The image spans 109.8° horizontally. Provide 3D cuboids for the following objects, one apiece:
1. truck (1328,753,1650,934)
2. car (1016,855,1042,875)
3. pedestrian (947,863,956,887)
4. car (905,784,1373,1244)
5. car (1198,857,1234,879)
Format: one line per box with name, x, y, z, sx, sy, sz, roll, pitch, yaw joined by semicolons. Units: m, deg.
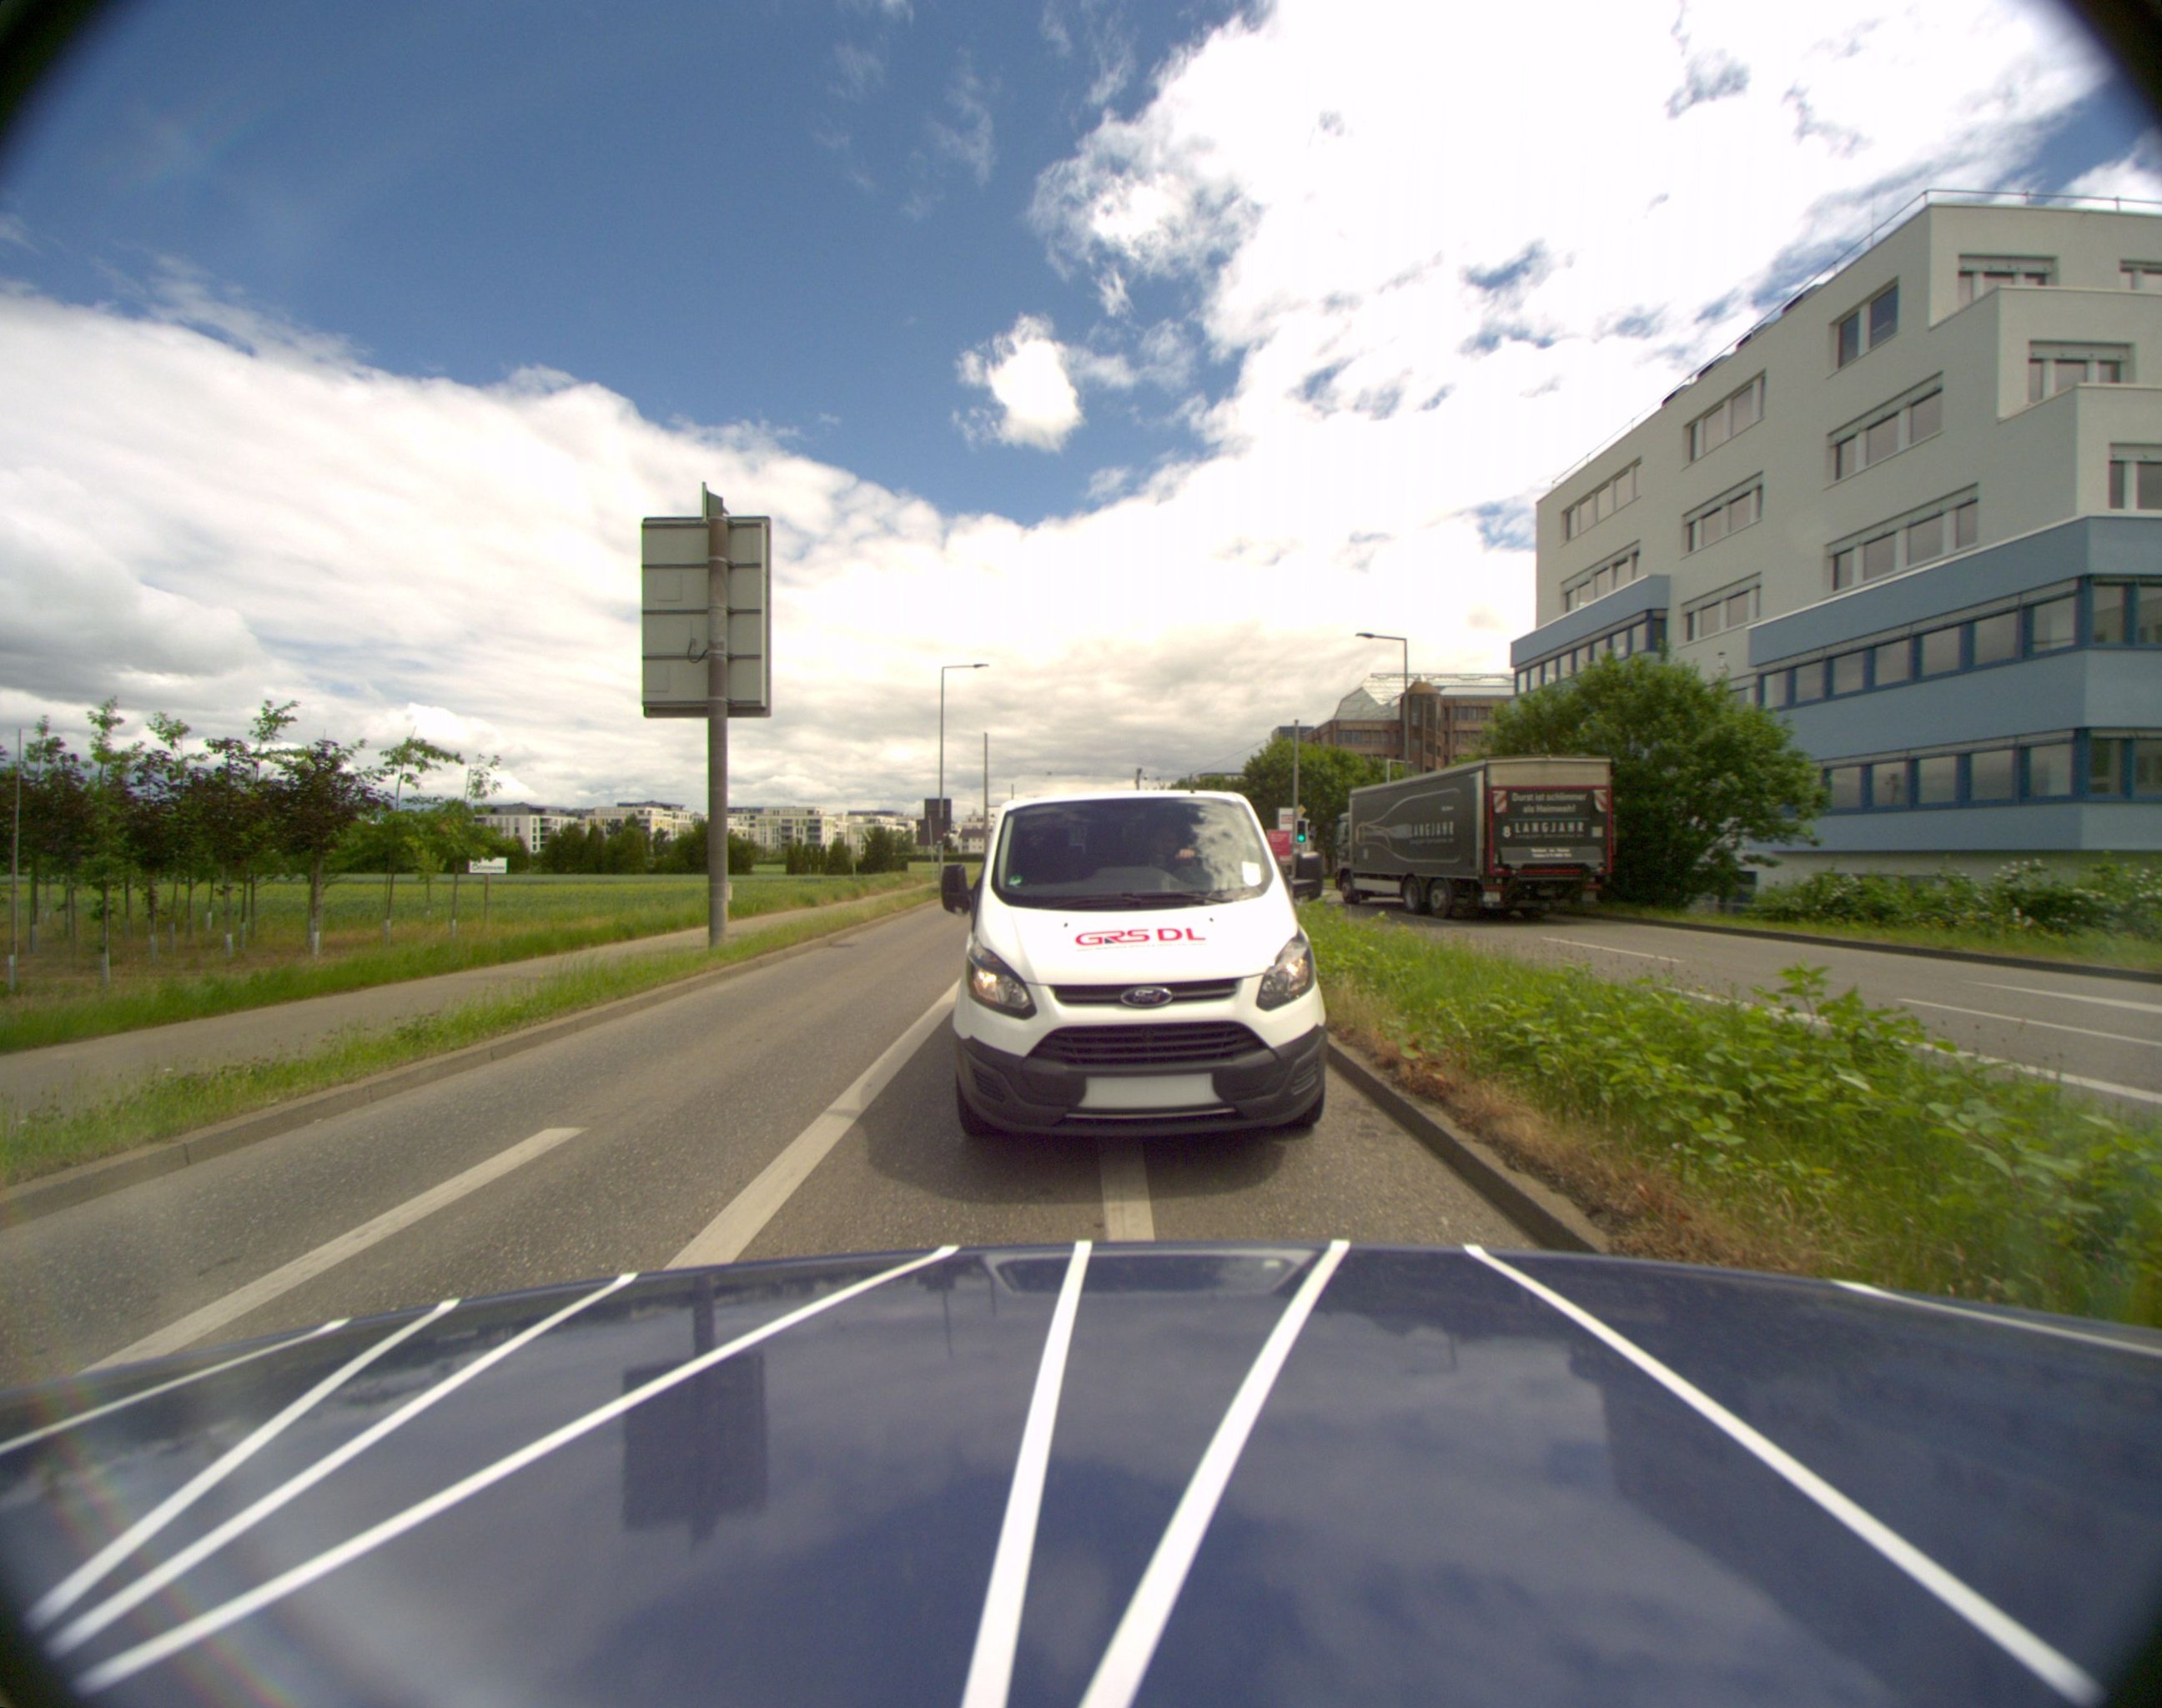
truck;9.619;-0.246;19.777;3.176;3.497;9.524;-1;1;-1
car;-3.874;0.795;56.759;1.683;1.410;3.739;-1;1;-1
pedestrian;-9.311;1.499;54.599;0.492;1.693;0.626;-2;1;-1
car;0.285;0.692;5.801;1.968;1.938;5.055;-2;0;1
car;8.752;0.878;49.531;1.558;1.375;3.779;-1;0;-1
